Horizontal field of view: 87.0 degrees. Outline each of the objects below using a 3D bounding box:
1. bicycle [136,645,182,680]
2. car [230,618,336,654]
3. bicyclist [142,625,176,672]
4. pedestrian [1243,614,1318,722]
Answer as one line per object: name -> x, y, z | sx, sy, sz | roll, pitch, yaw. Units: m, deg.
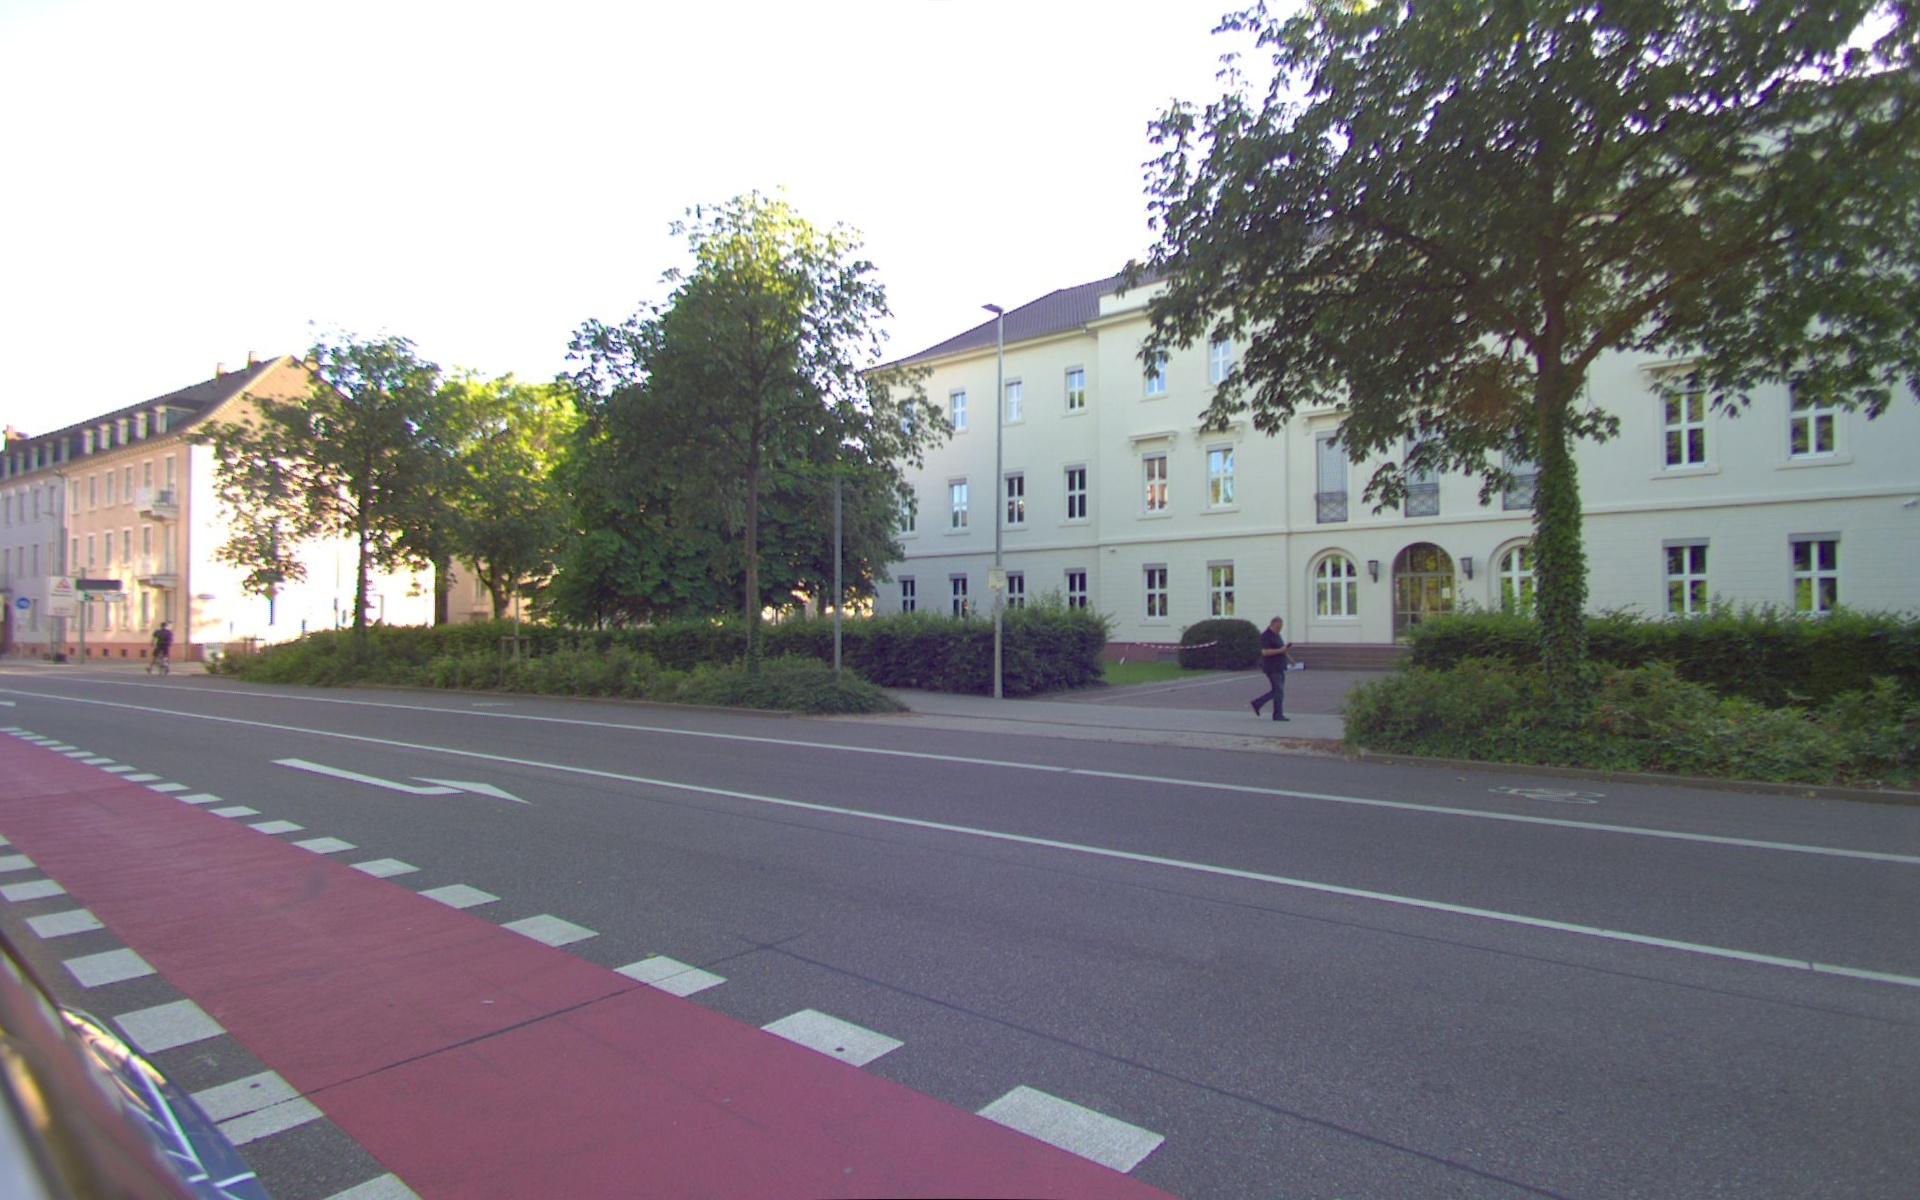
bicycle -> -27.766, 2.155, 35.063 | 2.242, 1.168, 0.688 | -2, -4, 38
car -> -33.713, 1.752, 50.502 | 1.993, 1.674, 3.958 | -1, -1, 31
bicyclist -> -27.753, 1.681, 35.077 | 0.837, 1.574, 0.683 | -2, -4, 37
pedestrian -> 5.348, 1.121, 16.903 | 0.966, 1.733, 0.827 | -2, -3, 37
